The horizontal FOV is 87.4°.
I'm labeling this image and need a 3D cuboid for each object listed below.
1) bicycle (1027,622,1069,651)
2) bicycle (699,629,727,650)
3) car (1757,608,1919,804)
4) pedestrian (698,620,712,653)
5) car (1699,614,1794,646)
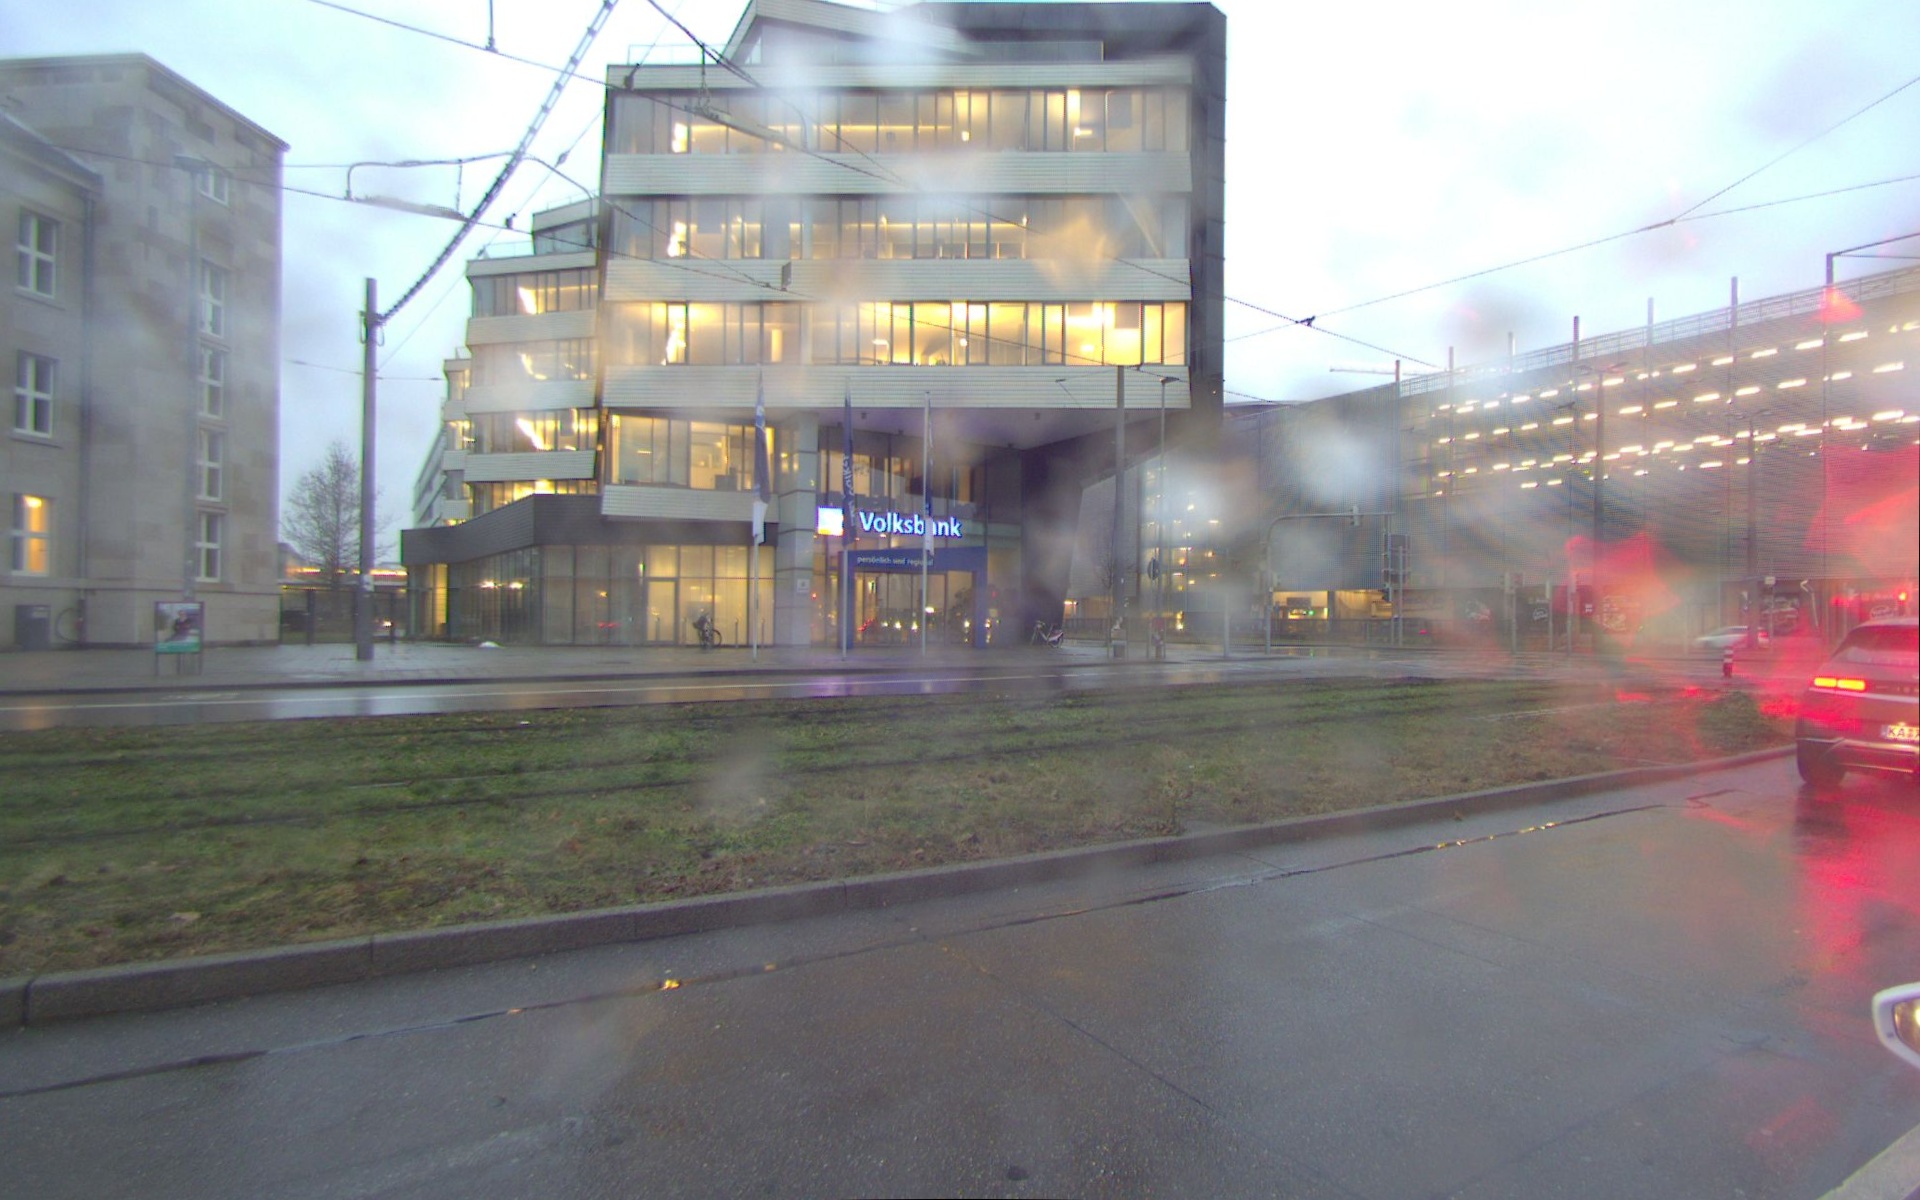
[{"bbox_3d":[3.517,1.455,40.109,1.588,1.105,0.553,1,-1,-23],"label":"bicycle"},{"bbox_3d":[-8.627,1.364,35.065,0.896,0.724,0.483,1,-1,-10],"label":"bicycle"},{"bbox_3d":[9.315,0.906,9.472,3.959,1.595,1.742,1,-1,-34],"label":"car"},{"bbox_3d":[-8.723,1.237,34.347,0.380,1.103,0.325,0,-1,5],"label":"pedestrian"},{"bbox_3d":[45.249,1.706,57.860,1.720,1.640,3.961,0,1,-34],"label":"car"}]
